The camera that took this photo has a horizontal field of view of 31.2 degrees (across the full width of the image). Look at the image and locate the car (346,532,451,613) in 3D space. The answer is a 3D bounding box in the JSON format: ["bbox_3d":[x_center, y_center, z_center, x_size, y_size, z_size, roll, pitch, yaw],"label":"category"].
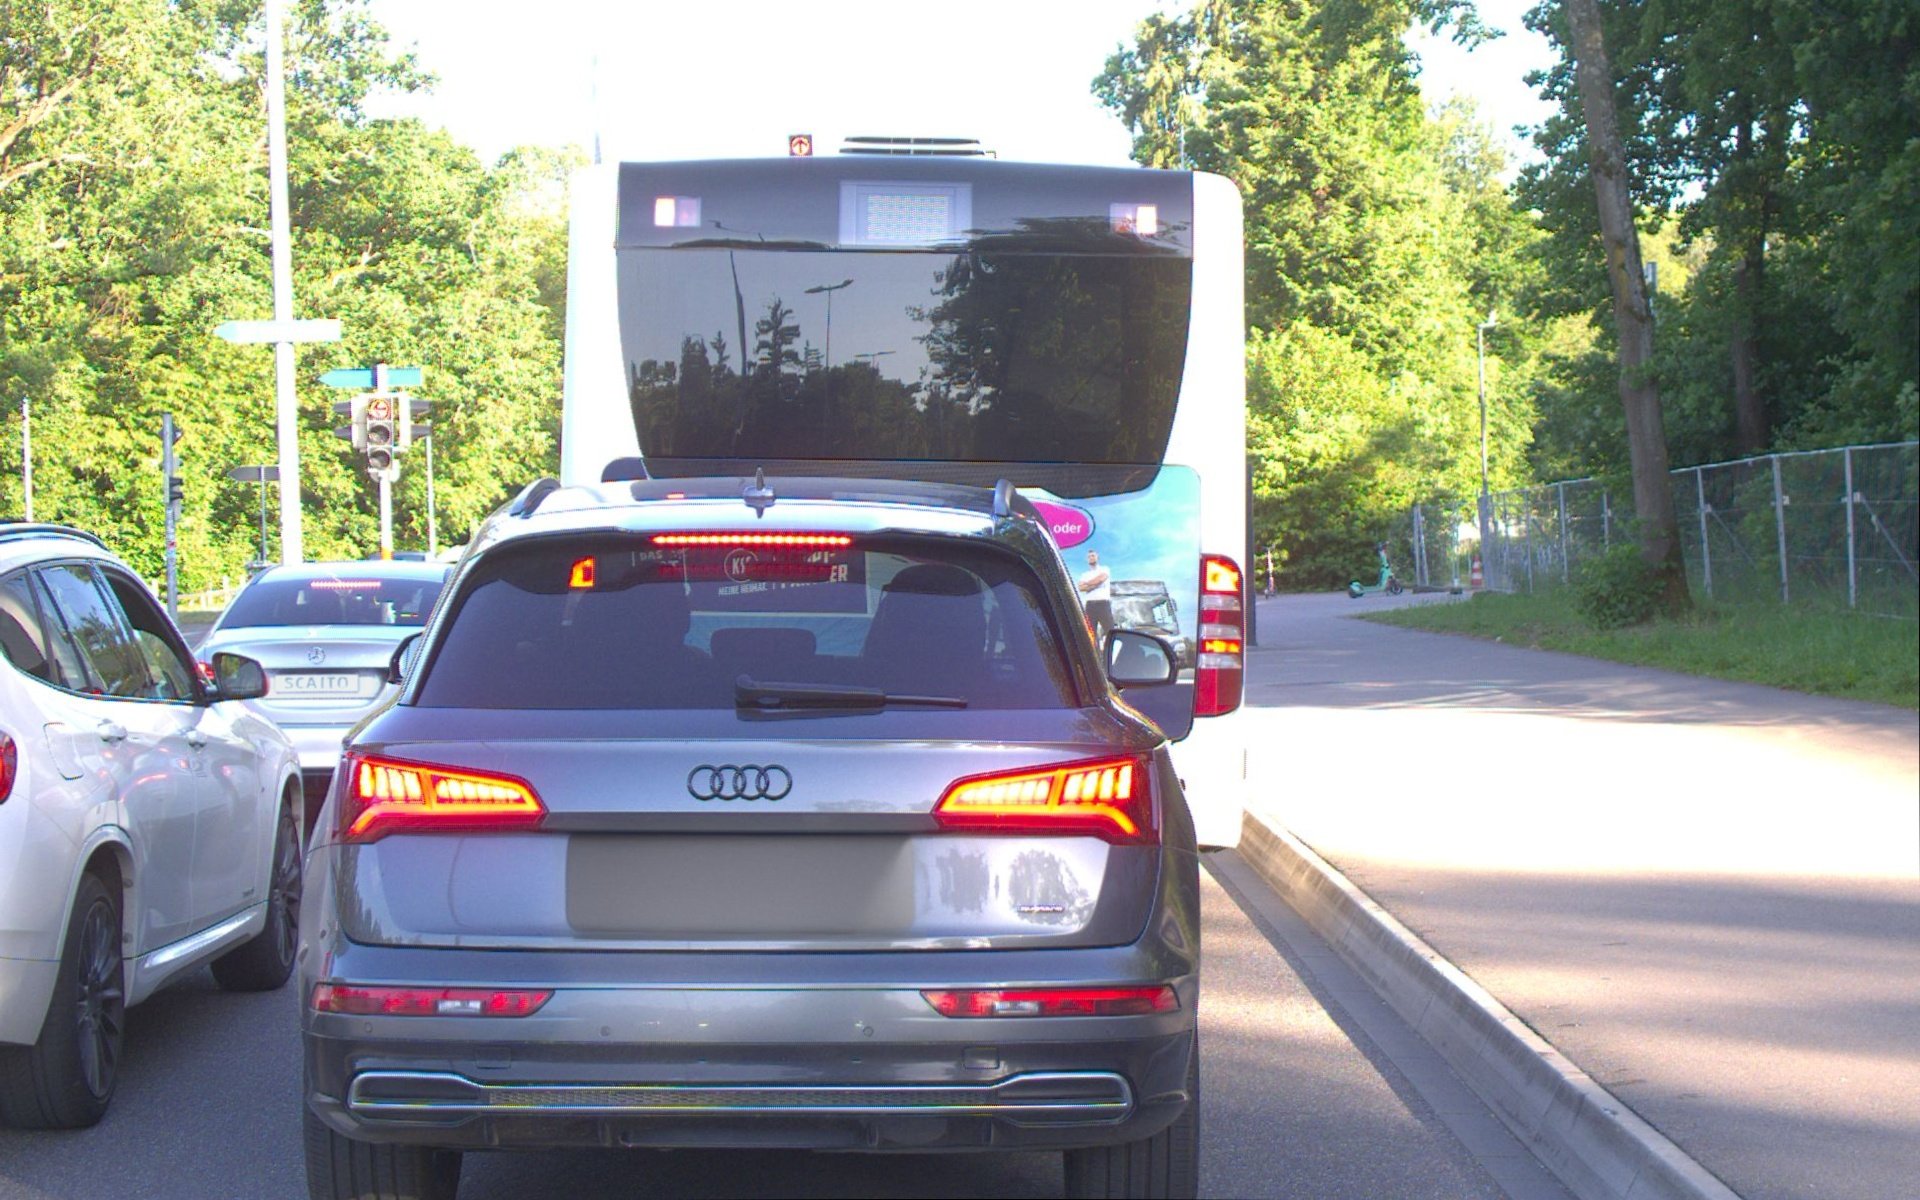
[{"bbox_3d":[-12.217,-0.613,74.984,1.993,1.656,4.001,-2,1,-6],"label":"car"}]

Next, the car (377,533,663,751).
[{"bbox_3d":[-3.449,0.273,27.605,1.808,1.567,4.000,1,2,-1],"label":"car"}]

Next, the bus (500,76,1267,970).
[{"bbox_3d":[-0.242,-0.352,15.125,2.678,3.131,5.882,1,2,1],"label":"bus"}]

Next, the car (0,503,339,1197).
[{"bbox_3d":[-3.051,0.515,10.003,1.718,1.575,4.434,1,1,-1],"label":"car"}]

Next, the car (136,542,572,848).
[{"bbox_3d":[-3.229,0.434,19.081,1.785,1.439,4.278,1,2,-2],"label":"car"}]

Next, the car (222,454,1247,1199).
[{"bbox_3d":[-0.441,0.518,8.331,1.868,1.658,4.000,1,2,-1],"label":"car"}]

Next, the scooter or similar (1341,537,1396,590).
[{"bbox_3d":[9.265,-0.826,77.912,1.184,1.170,0.659,1,1,11],"label":"scooter or similar"}]
